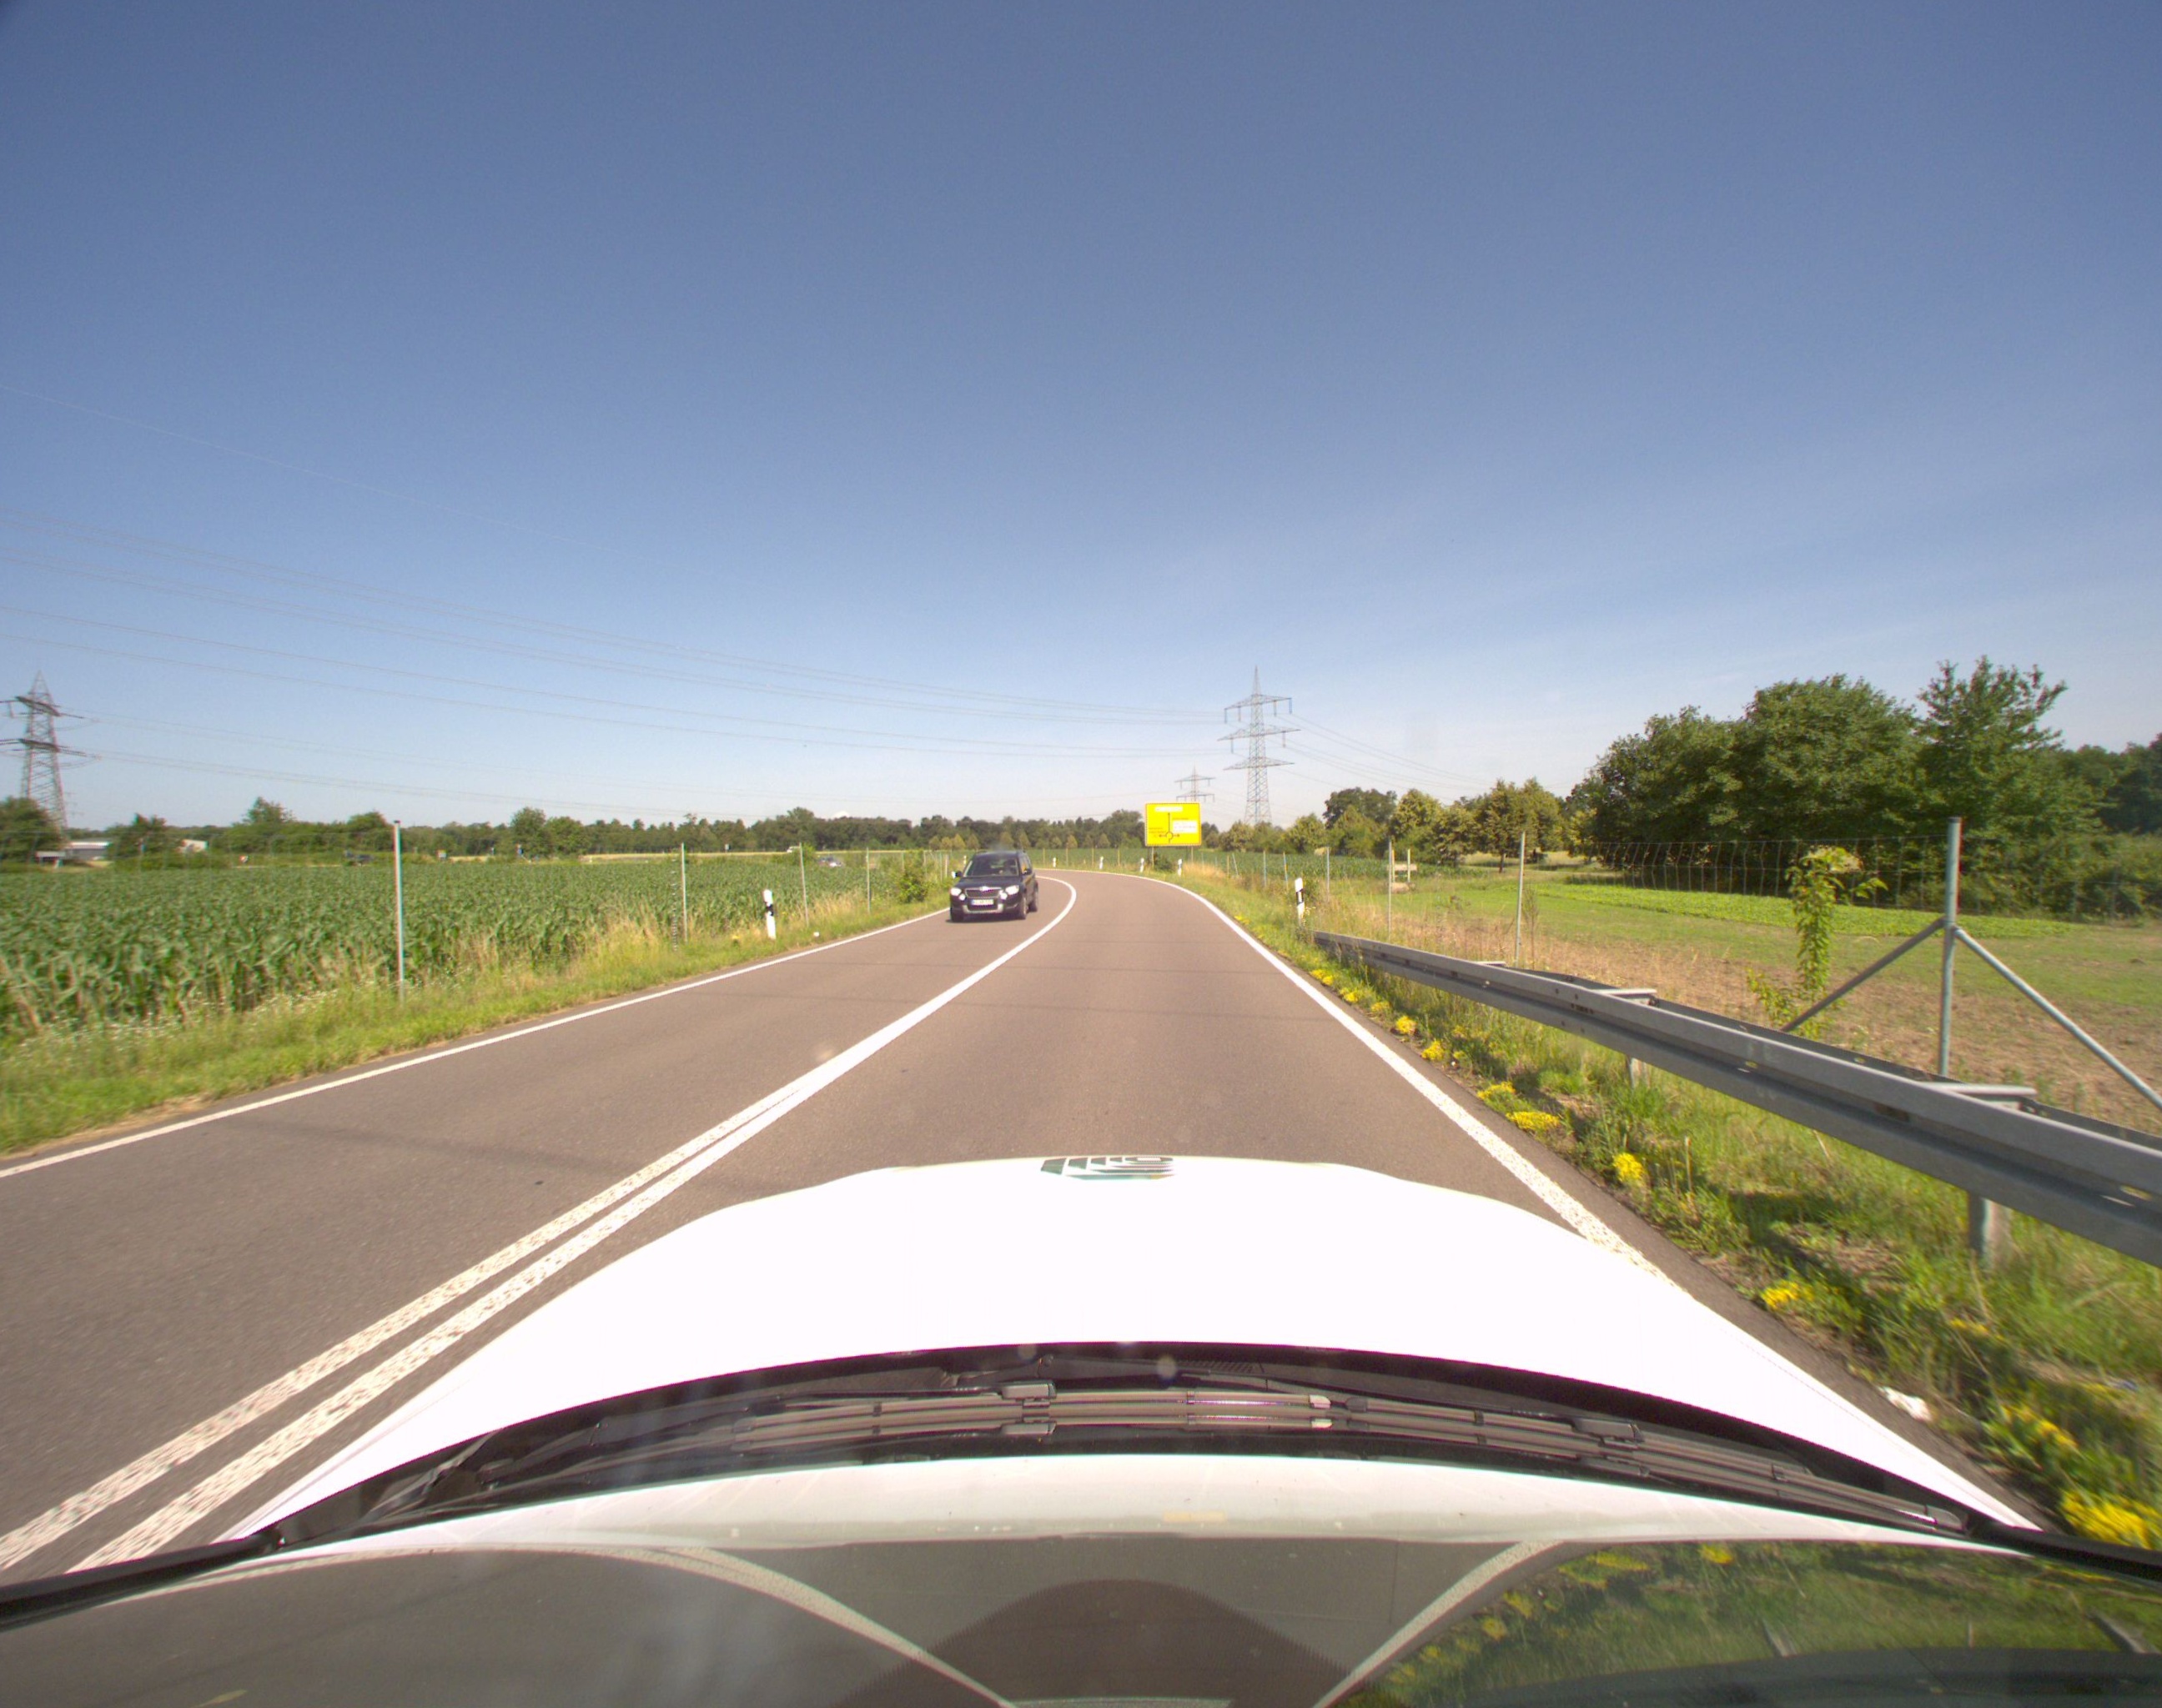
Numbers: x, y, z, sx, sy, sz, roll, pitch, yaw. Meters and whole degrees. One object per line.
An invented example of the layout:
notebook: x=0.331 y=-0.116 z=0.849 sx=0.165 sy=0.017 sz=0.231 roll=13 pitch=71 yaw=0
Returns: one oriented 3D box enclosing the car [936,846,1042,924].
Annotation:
car: x=-2.220 y=0.706 z=20.813 sx=1.976 sy=1.706 sz=4.264 roll=-3 pitch=0 yaw=2
